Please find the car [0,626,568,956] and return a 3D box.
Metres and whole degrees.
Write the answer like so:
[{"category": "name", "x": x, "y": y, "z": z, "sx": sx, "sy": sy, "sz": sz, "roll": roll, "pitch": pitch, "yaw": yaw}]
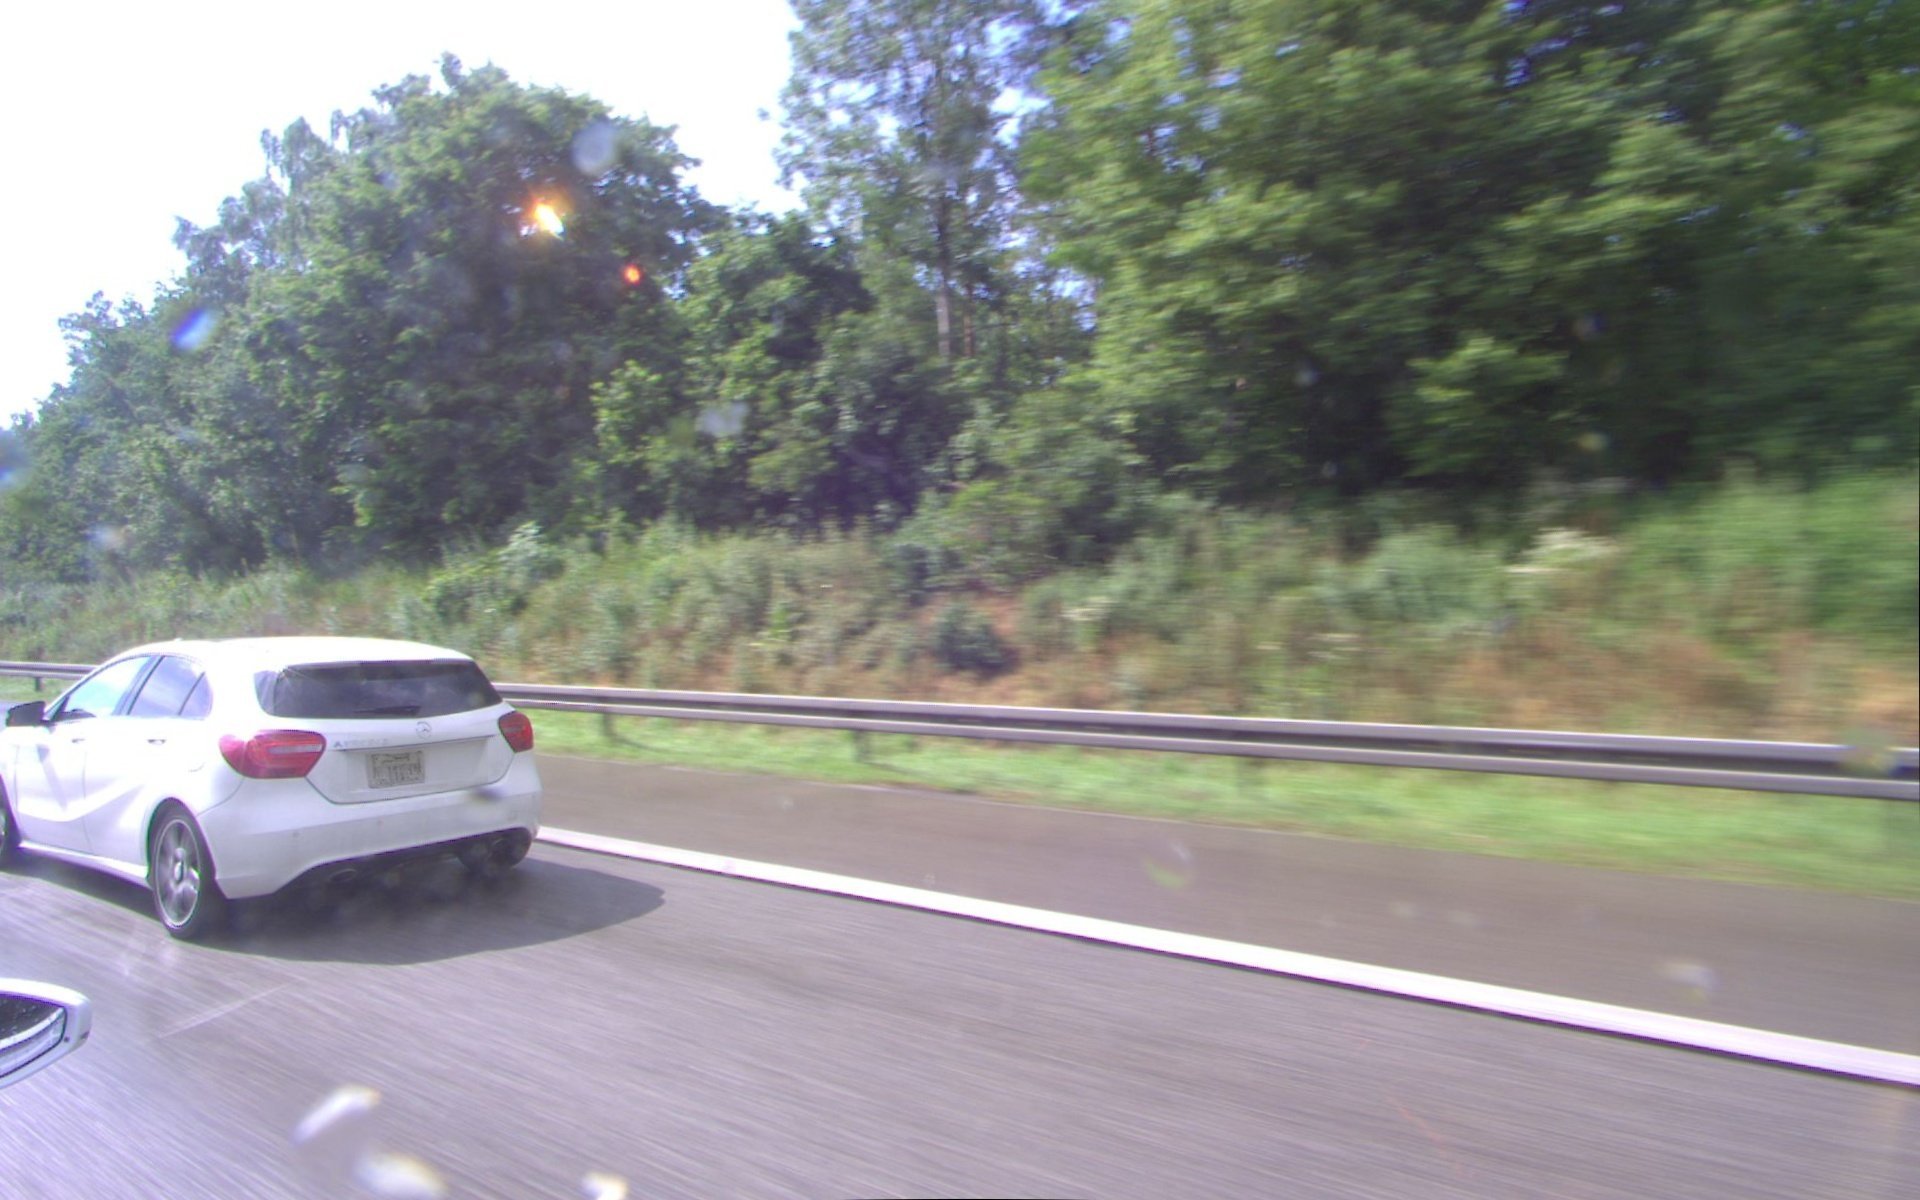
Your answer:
[{"category": "car", "x": -4.485, "y": 0.894, "z": 6.224, "sx": 4.160, "sy": 1.443, "sz": 1.689, "roll": -1, "pitch": -2, "yaw": 32}]
